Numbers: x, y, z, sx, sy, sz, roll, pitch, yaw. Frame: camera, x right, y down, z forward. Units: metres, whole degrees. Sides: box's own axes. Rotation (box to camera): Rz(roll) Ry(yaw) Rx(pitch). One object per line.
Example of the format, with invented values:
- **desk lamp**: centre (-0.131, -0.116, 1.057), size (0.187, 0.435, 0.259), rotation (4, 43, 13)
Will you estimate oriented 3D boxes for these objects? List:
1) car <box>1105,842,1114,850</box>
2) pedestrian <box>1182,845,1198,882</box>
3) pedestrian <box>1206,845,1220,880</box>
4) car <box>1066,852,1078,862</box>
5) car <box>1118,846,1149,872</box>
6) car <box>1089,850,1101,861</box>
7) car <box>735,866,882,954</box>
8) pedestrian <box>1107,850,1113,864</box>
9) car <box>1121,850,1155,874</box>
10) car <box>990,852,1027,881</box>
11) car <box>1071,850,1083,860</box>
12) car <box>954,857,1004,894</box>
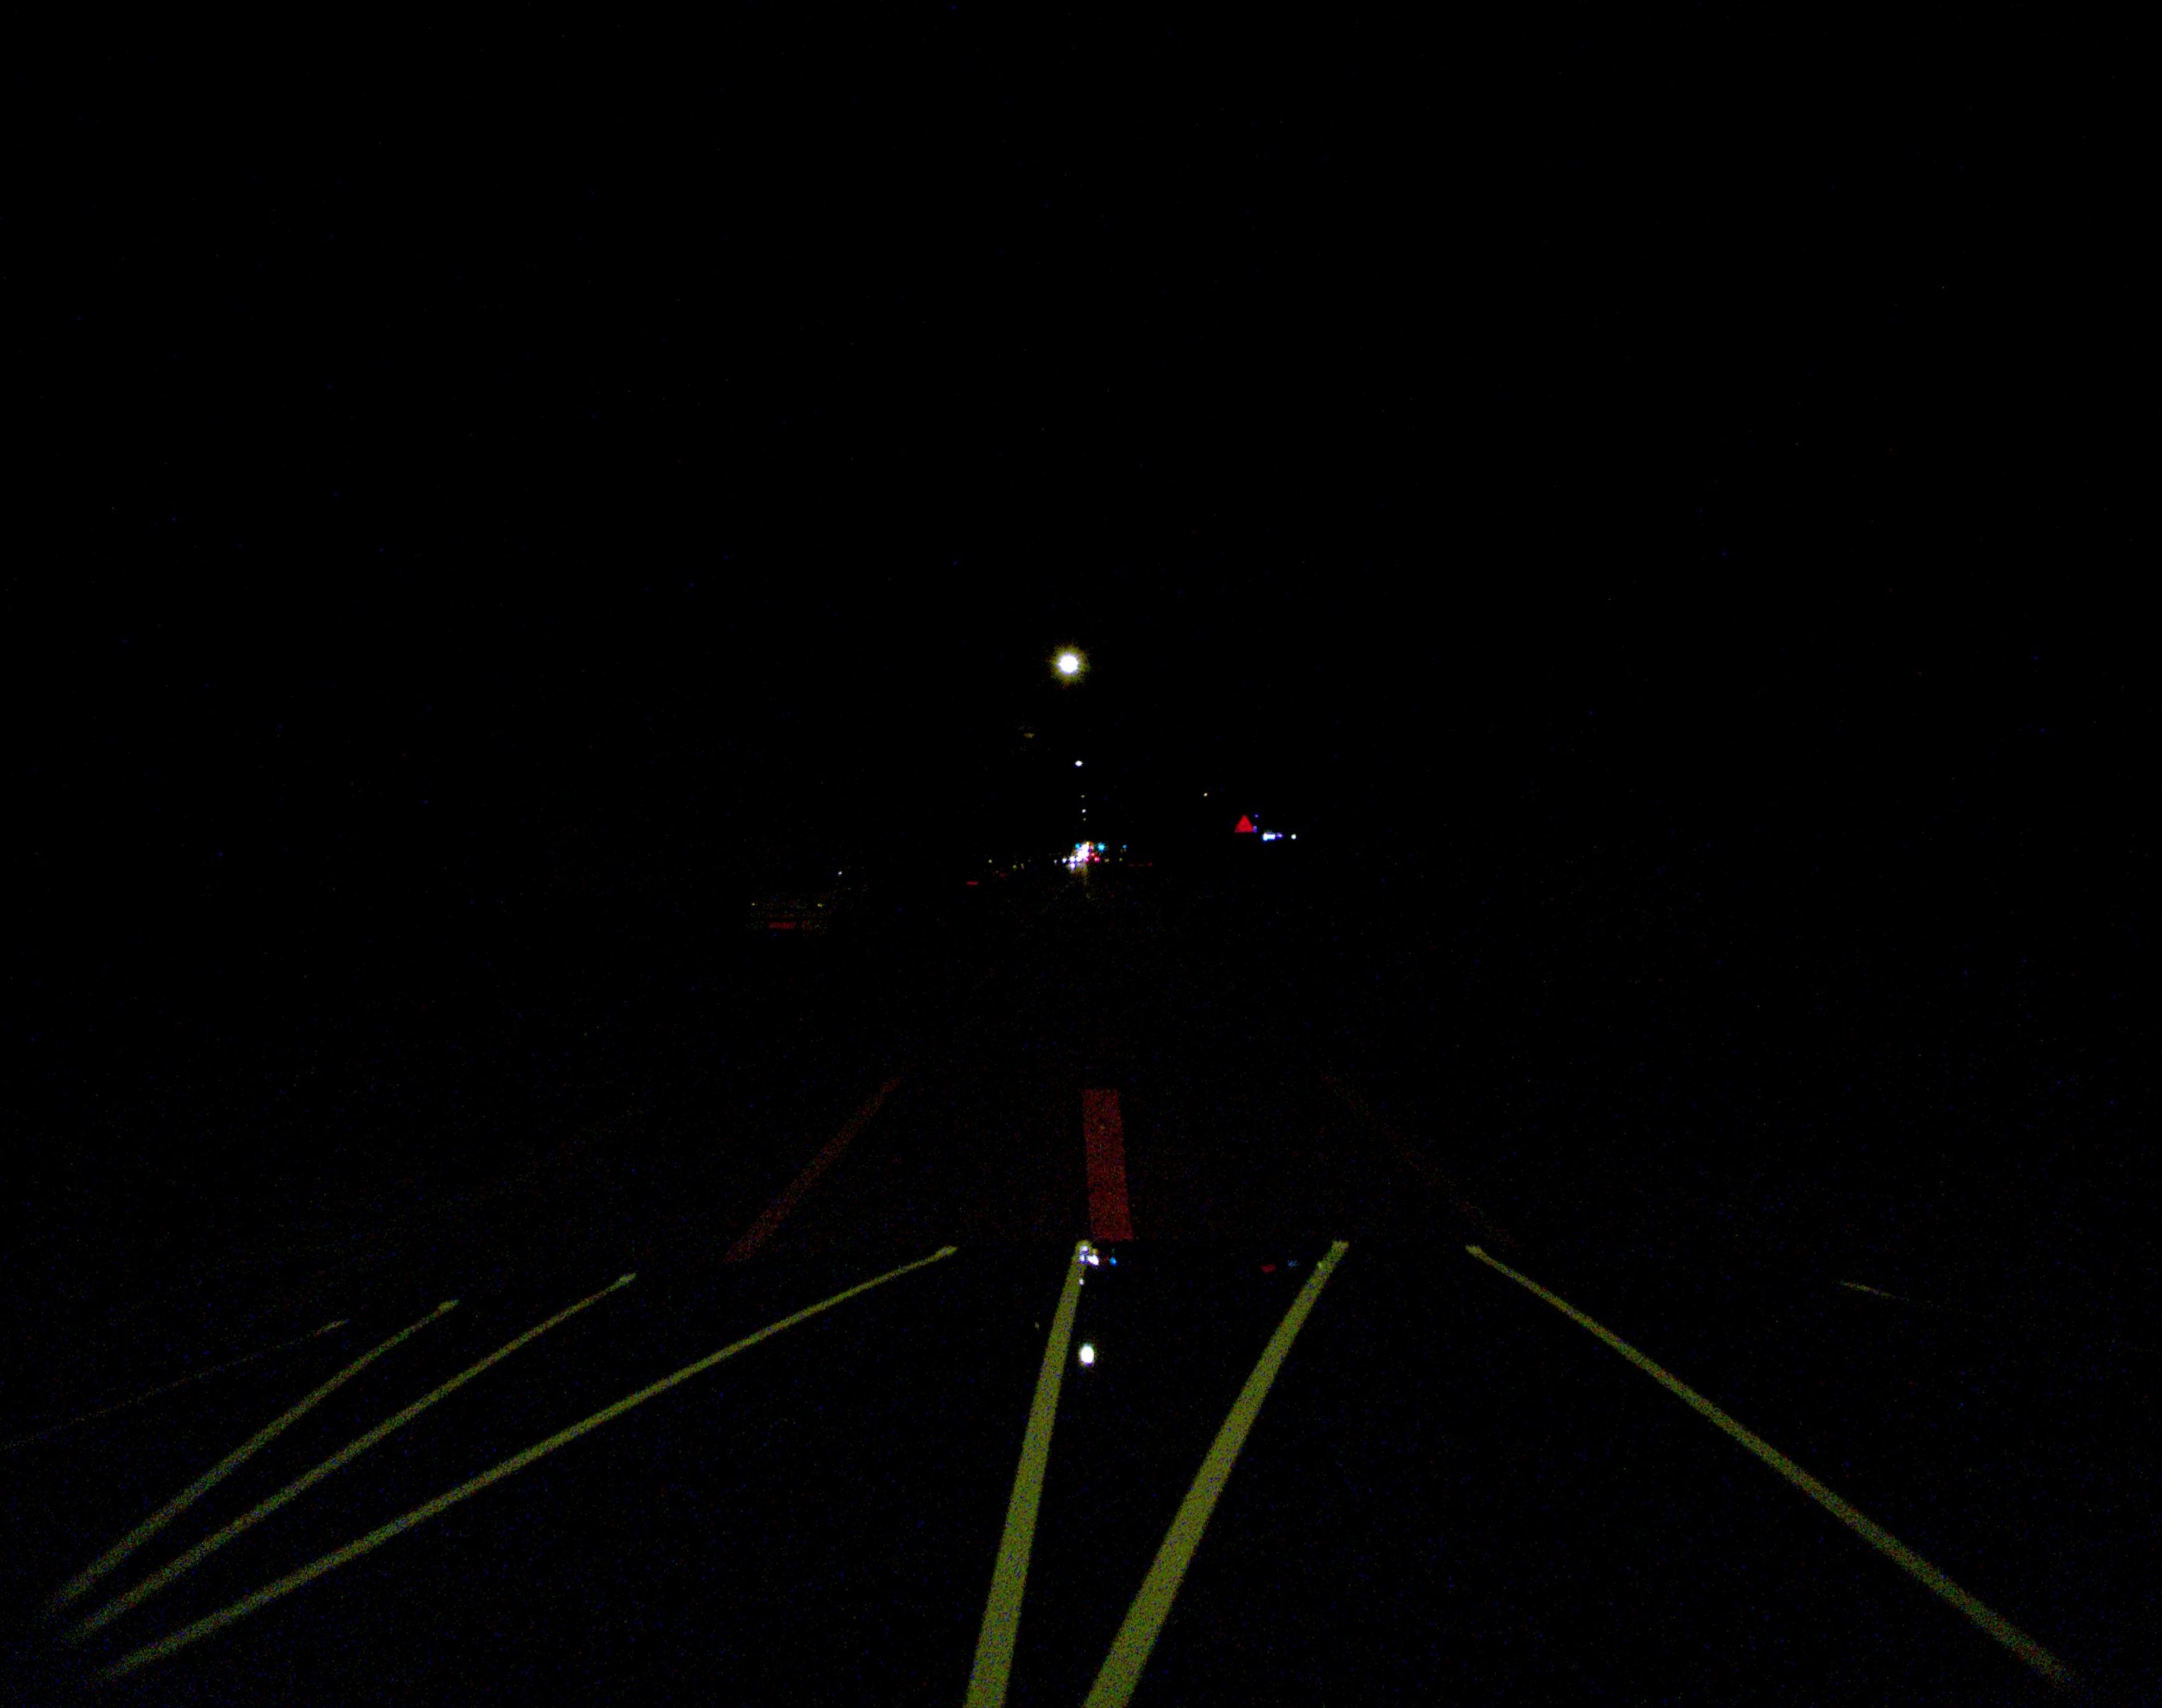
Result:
- **car**: centre (5.794, -1.645, 154.047), size (1.903, 1.581, 3.661), rotation (-2, 1, 2)
- **pedestrian**: centre (5.368, 0.469, 37.372), size (0.673, 1.750, 0.500), rotation (-2, 1, 1)
- **pedestrian**: centre (6.680, 0.445, 38.578), size (0.565, 1.750, 0.500), rotation (-2, 1, 1)
- **car**: centre (-1.552, 0.531, 134.571), size (1.998, 1.718, 3.803), rotation (-2, 1, 1)
- **car**: centre (3.898, 0.340, 57.151), size (1.998, 1.772, 3.999), rotation (-2, 1, 1)
- **car**: centre (2.049, 0.281, 111.013), size (1.754, 1.433, 3.487), rotation (-2, -2, 1)
- **car**: centre (-5.238, 1.009, 15.059), size (1.611, 1.500, 3.486), rotation (0, 0, 1)
- **pedestrian**: centre (4.475, 0.466, 118.156), size (0.804, 2.002, 0.940), rotation (-2, 1, 1)
- **car**: centre (3.890, 0.510, 52.074), size (1.998, 1.477, 3.999), rotation (-3, 1, 1)
- **car**: centre (-4.460, 0.744, 47.473), size (1.852, 1.643, 4.179), rotation (-2, 0, 0)
- **car**: centre (-0.738, 0.107, 140.546), size (1.998, 1.740, 3.999), rotation (-2, 1, 1)
- **car**: centre (-4.470, 0.902, 33.941), size (1.742, 1.489, 3.890), rotation (-1, 0, -1)
